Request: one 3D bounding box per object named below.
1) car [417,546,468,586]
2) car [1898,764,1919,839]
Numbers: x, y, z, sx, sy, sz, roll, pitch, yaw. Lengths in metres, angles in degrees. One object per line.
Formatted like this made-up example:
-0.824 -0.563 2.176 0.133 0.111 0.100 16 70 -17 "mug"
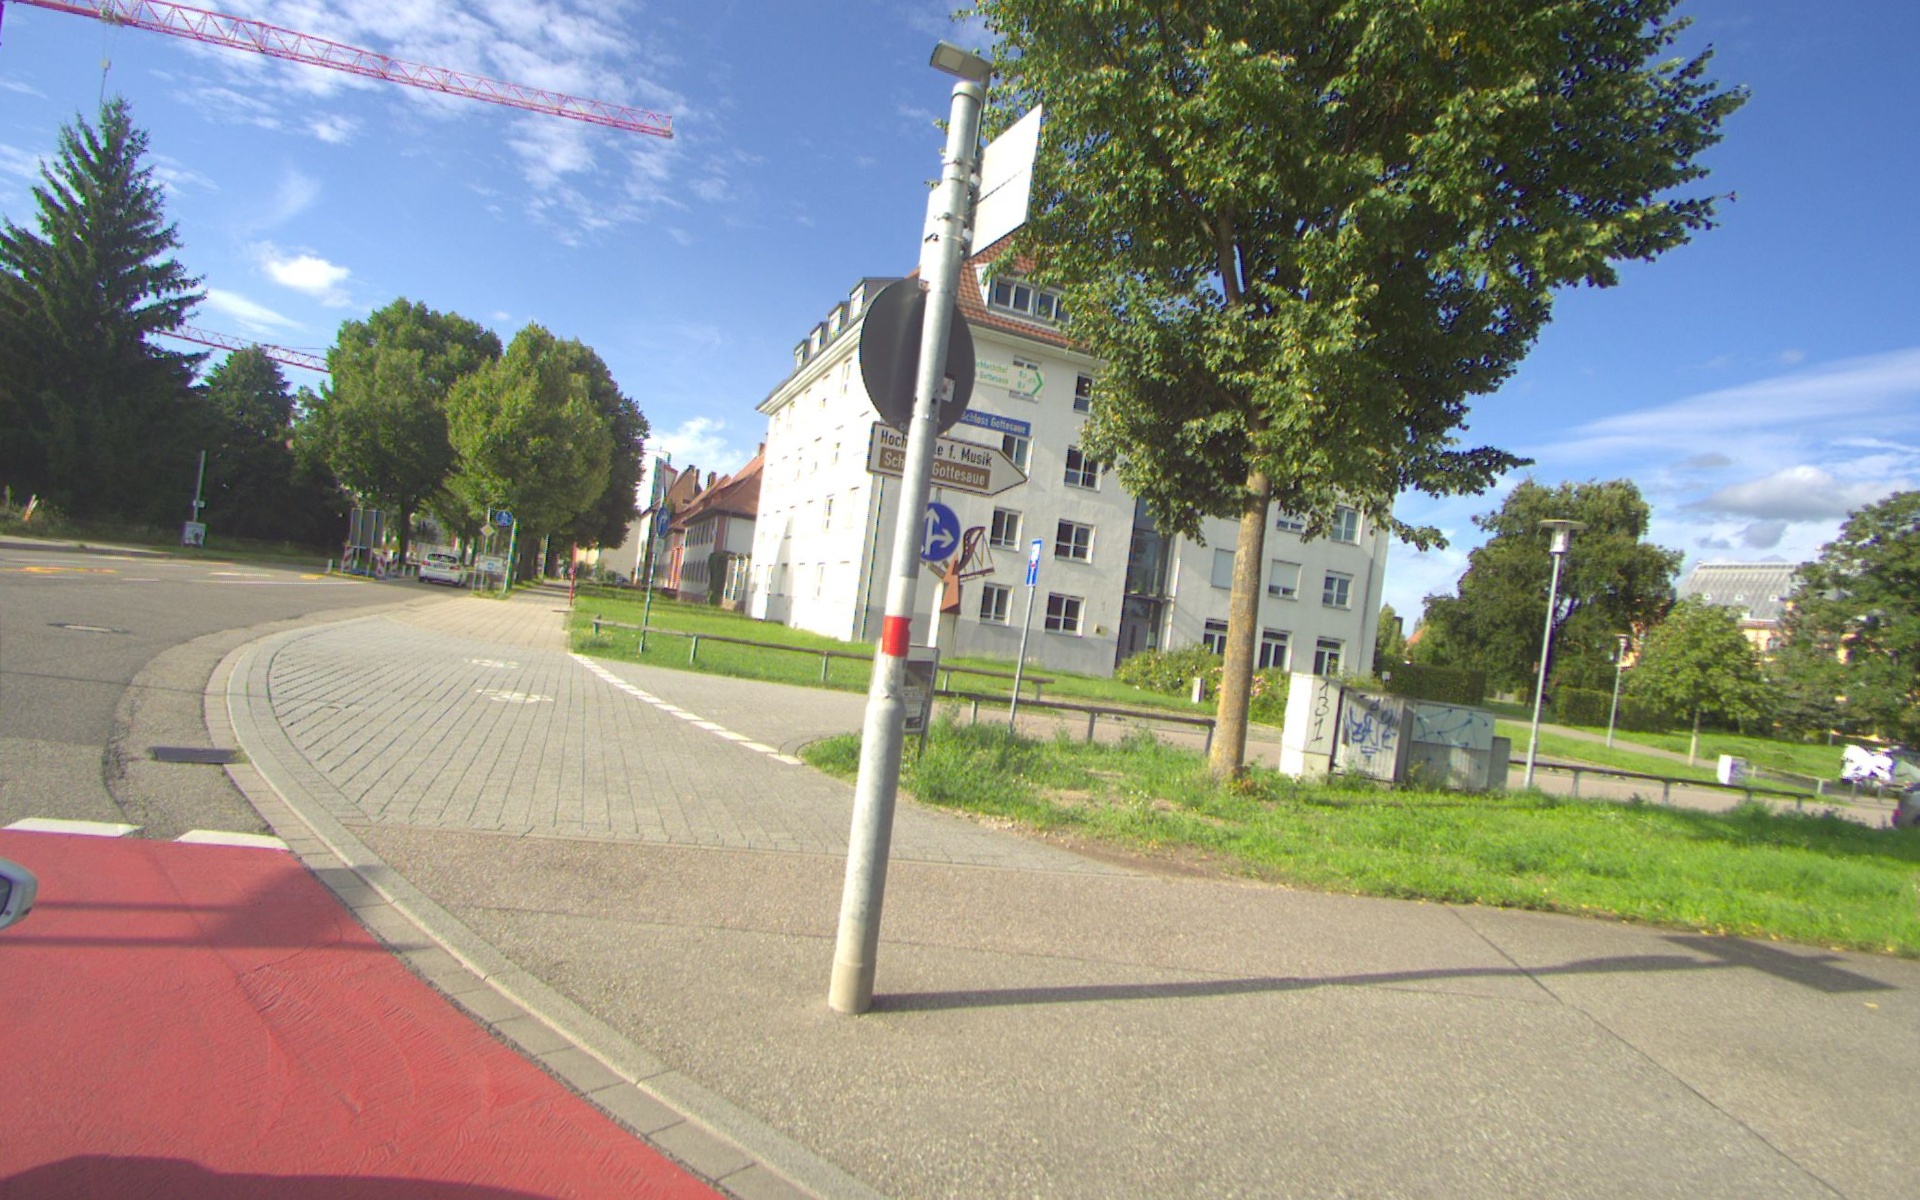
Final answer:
-25.245 -1.639 49.168 1.835 1.590 4.429 9 -2 -25 "car"
20.289 4.120 18.161 1.835 1.397 4.496 8 -1 -20 "car"
